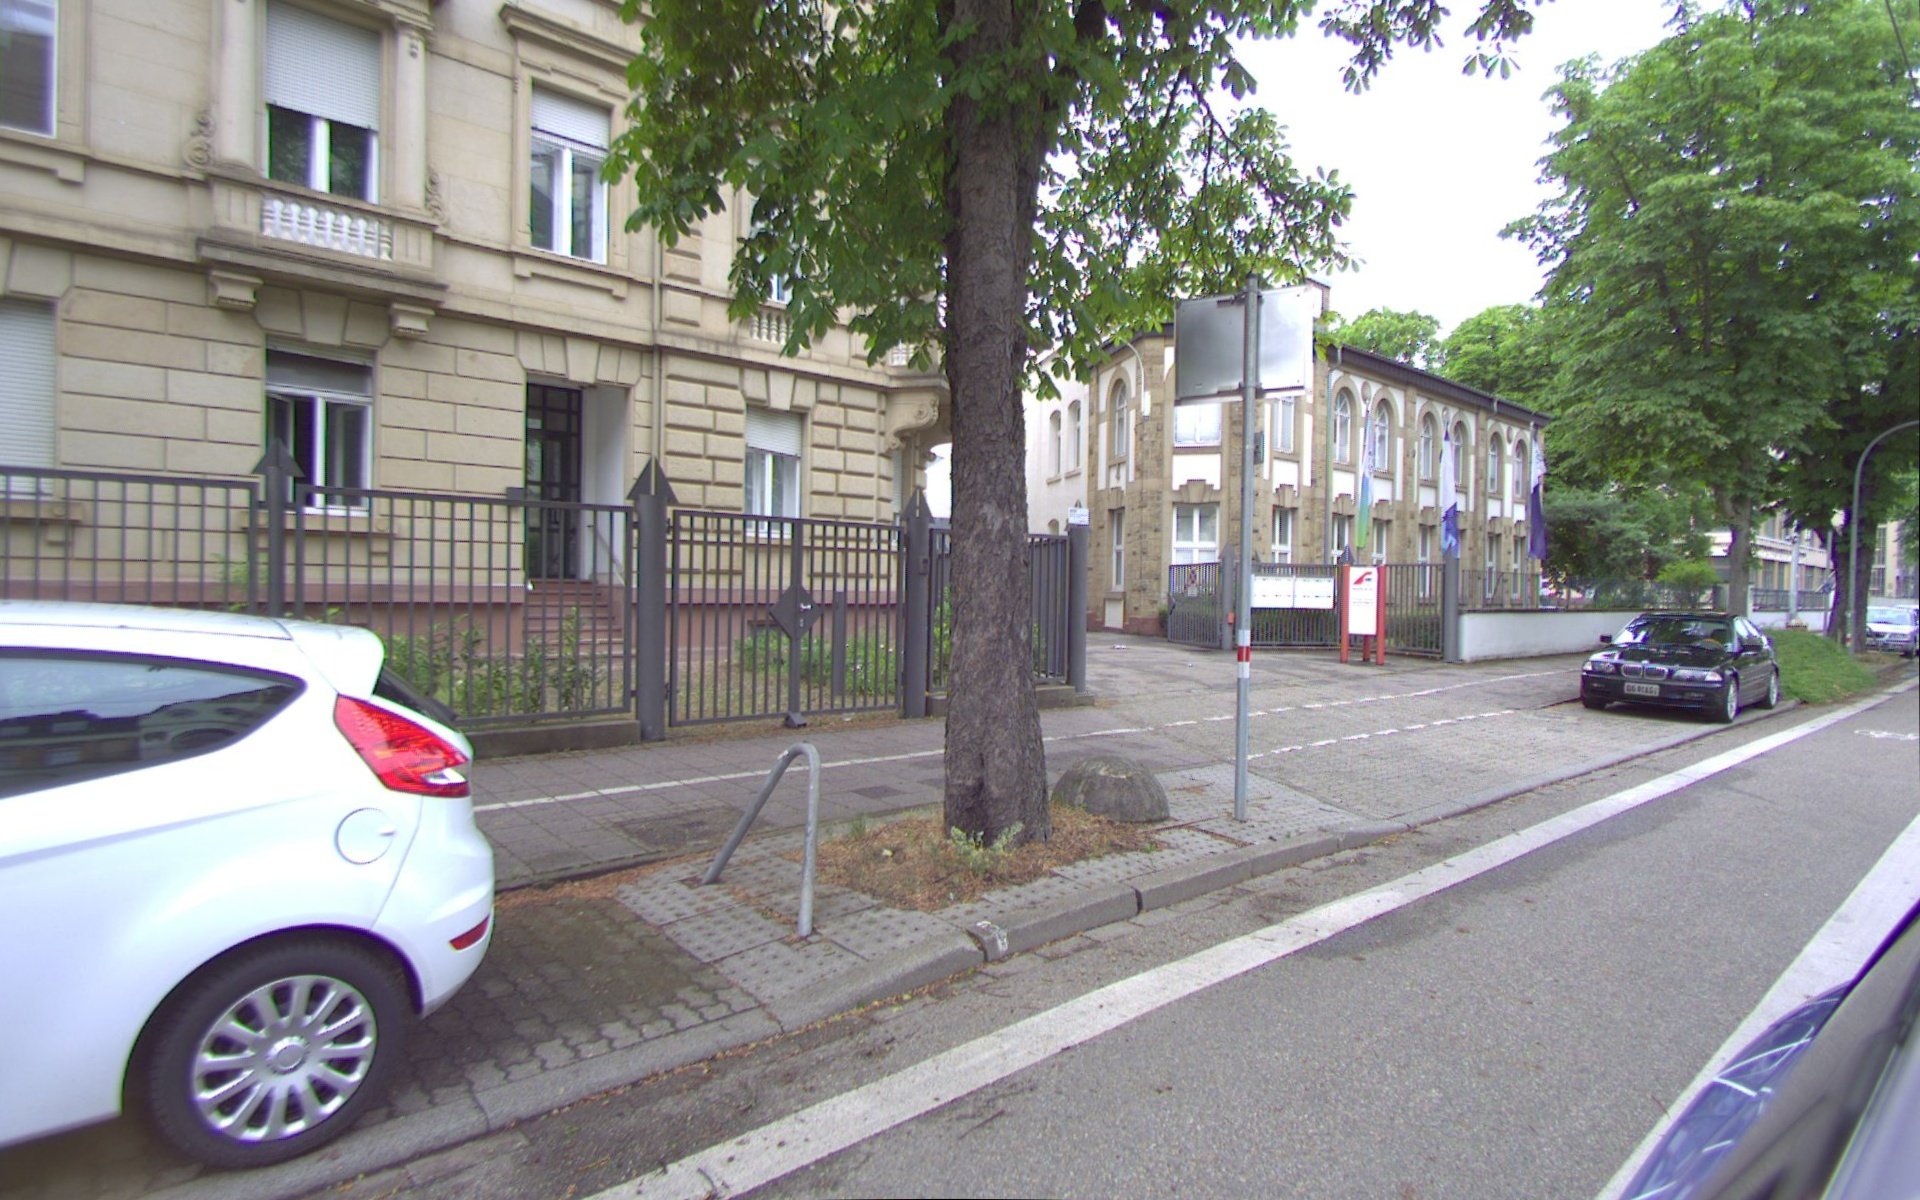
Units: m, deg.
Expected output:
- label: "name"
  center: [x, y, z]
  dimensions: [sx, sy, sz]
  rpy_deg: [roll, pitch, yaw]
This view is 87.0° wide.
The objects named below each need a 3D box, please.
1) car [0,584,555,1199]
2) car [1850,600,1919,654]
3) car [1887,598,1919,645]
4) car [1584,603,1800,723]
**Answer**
- label: "car"
  center: [-3.154, 0.719, 2.458]
  dimensions: [3.698, 1.453, 1.631]
  rpy_deg: [0, 3, -41]
- label: "car"
  center: [26.981, 0.739, 29.046]
  dimensions: [3.769, 1.387, 1.606]
  rpy_deg: [0, 3, -41]
- label: "car"
  center: [32.260, 0.713, 33.667]
  dimensions: [3.769, 1.442, 1.606]
  rpy_deg: [0, 3, -41]
- label: "car"
  center: [10.410, 0.783, 14.296]
  dimensions: [3.769, 1.387, 1.606]
  rpy_deg: [0, 3, -41]
